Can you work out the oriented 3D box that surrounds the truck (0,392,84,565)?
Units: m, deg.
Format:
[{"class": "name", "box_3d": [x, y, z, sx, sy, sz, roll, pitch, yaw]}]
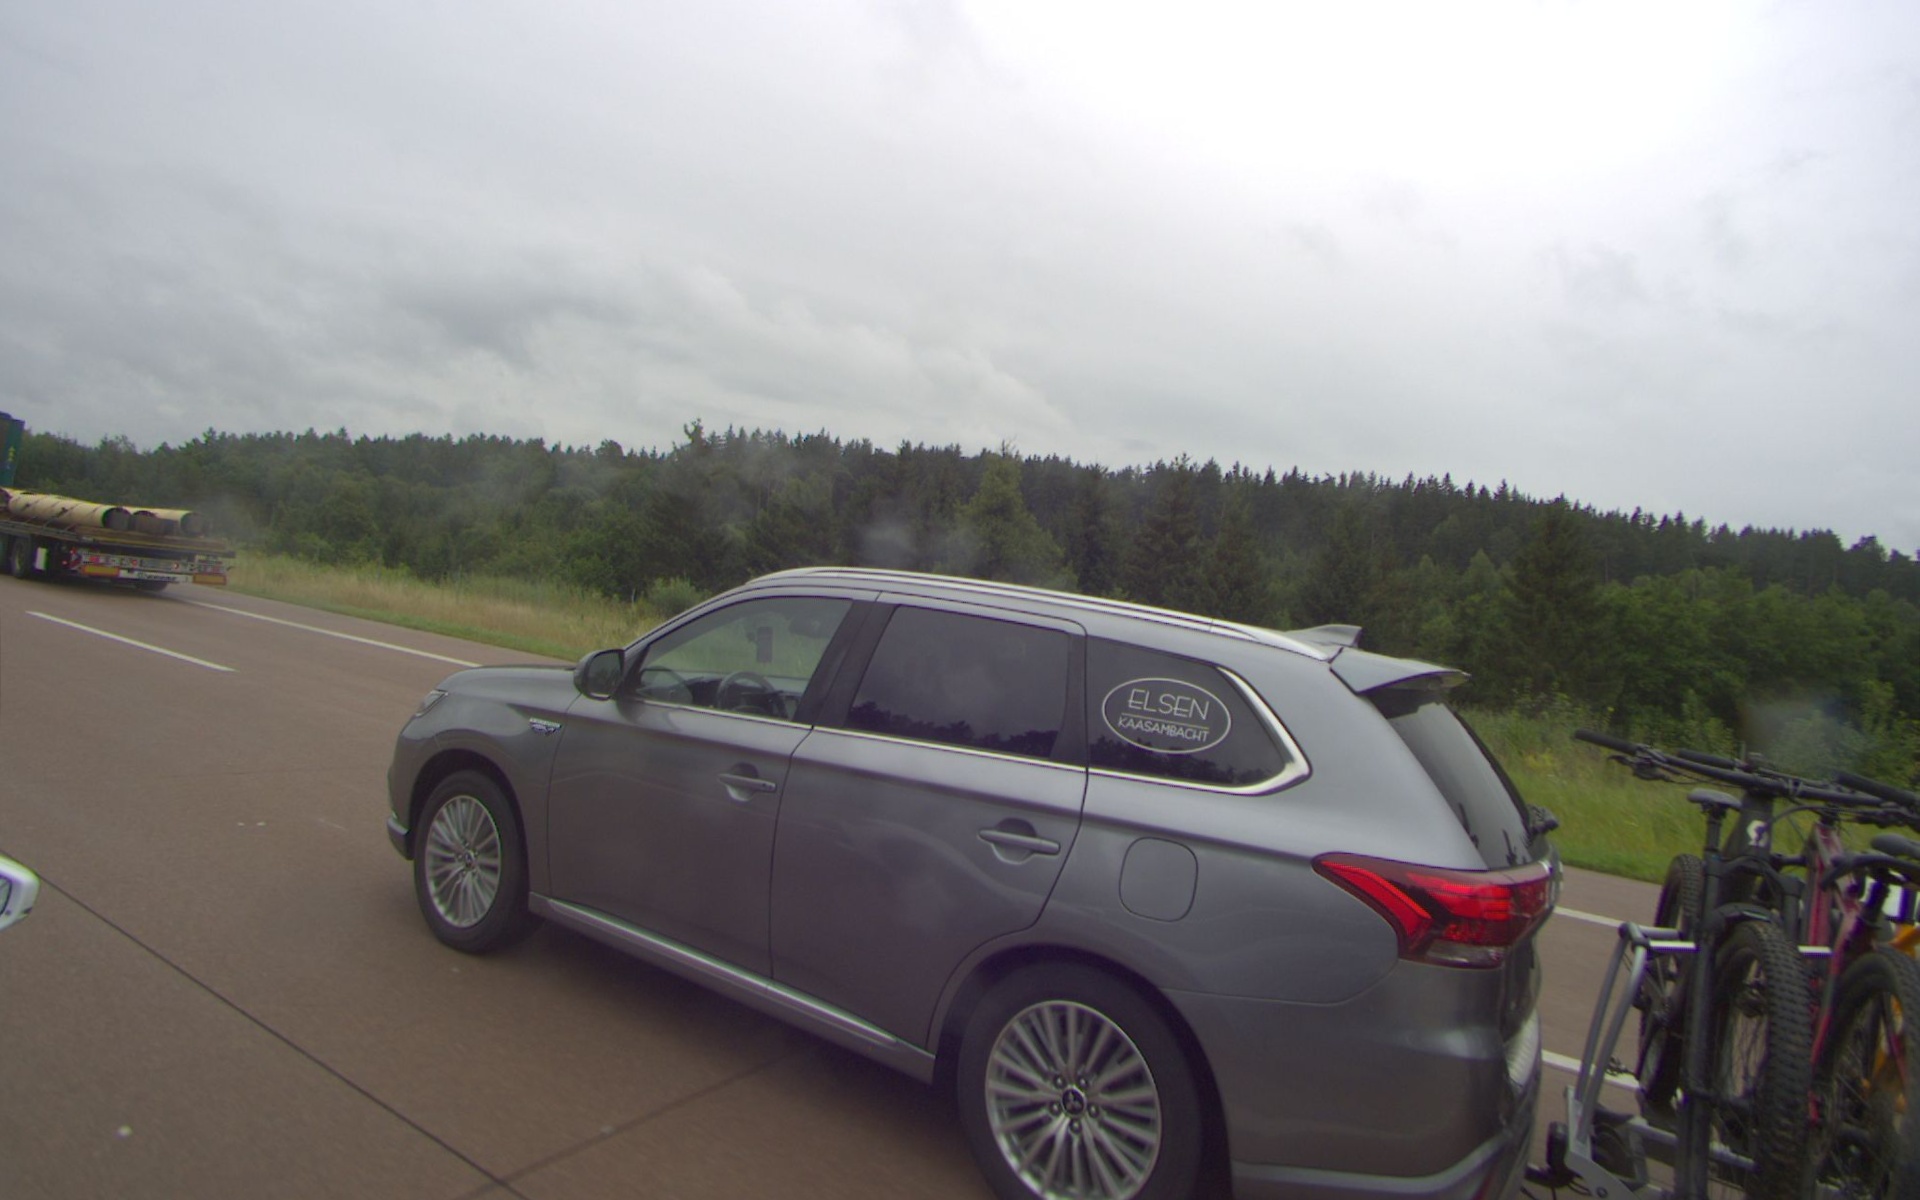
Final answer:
[{"class": "truck", "box_3d": [-26.346, -3.292, 26.331, 6.874, 4.010, 2.903, 5, -2, 32]}]

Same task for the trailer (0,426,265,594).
[{"class": "trailer", "box_3d": [-19.732, -2.047, 22.148, 11.211, 2.706, 2.887, 5, -3, 32]}]

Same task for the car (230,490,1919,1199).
[{"class": "car", "box_3d": [-0.241, 0.633, 3.910, 5.723, 1.610, 1.998, 5, -3, 31]}]

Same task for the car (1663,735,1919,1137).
[{"class": "car", "box_3d": [6.191, 1.788, 4.365, 4.894, 1.630, 1.701, 6, -1, 31]}]
